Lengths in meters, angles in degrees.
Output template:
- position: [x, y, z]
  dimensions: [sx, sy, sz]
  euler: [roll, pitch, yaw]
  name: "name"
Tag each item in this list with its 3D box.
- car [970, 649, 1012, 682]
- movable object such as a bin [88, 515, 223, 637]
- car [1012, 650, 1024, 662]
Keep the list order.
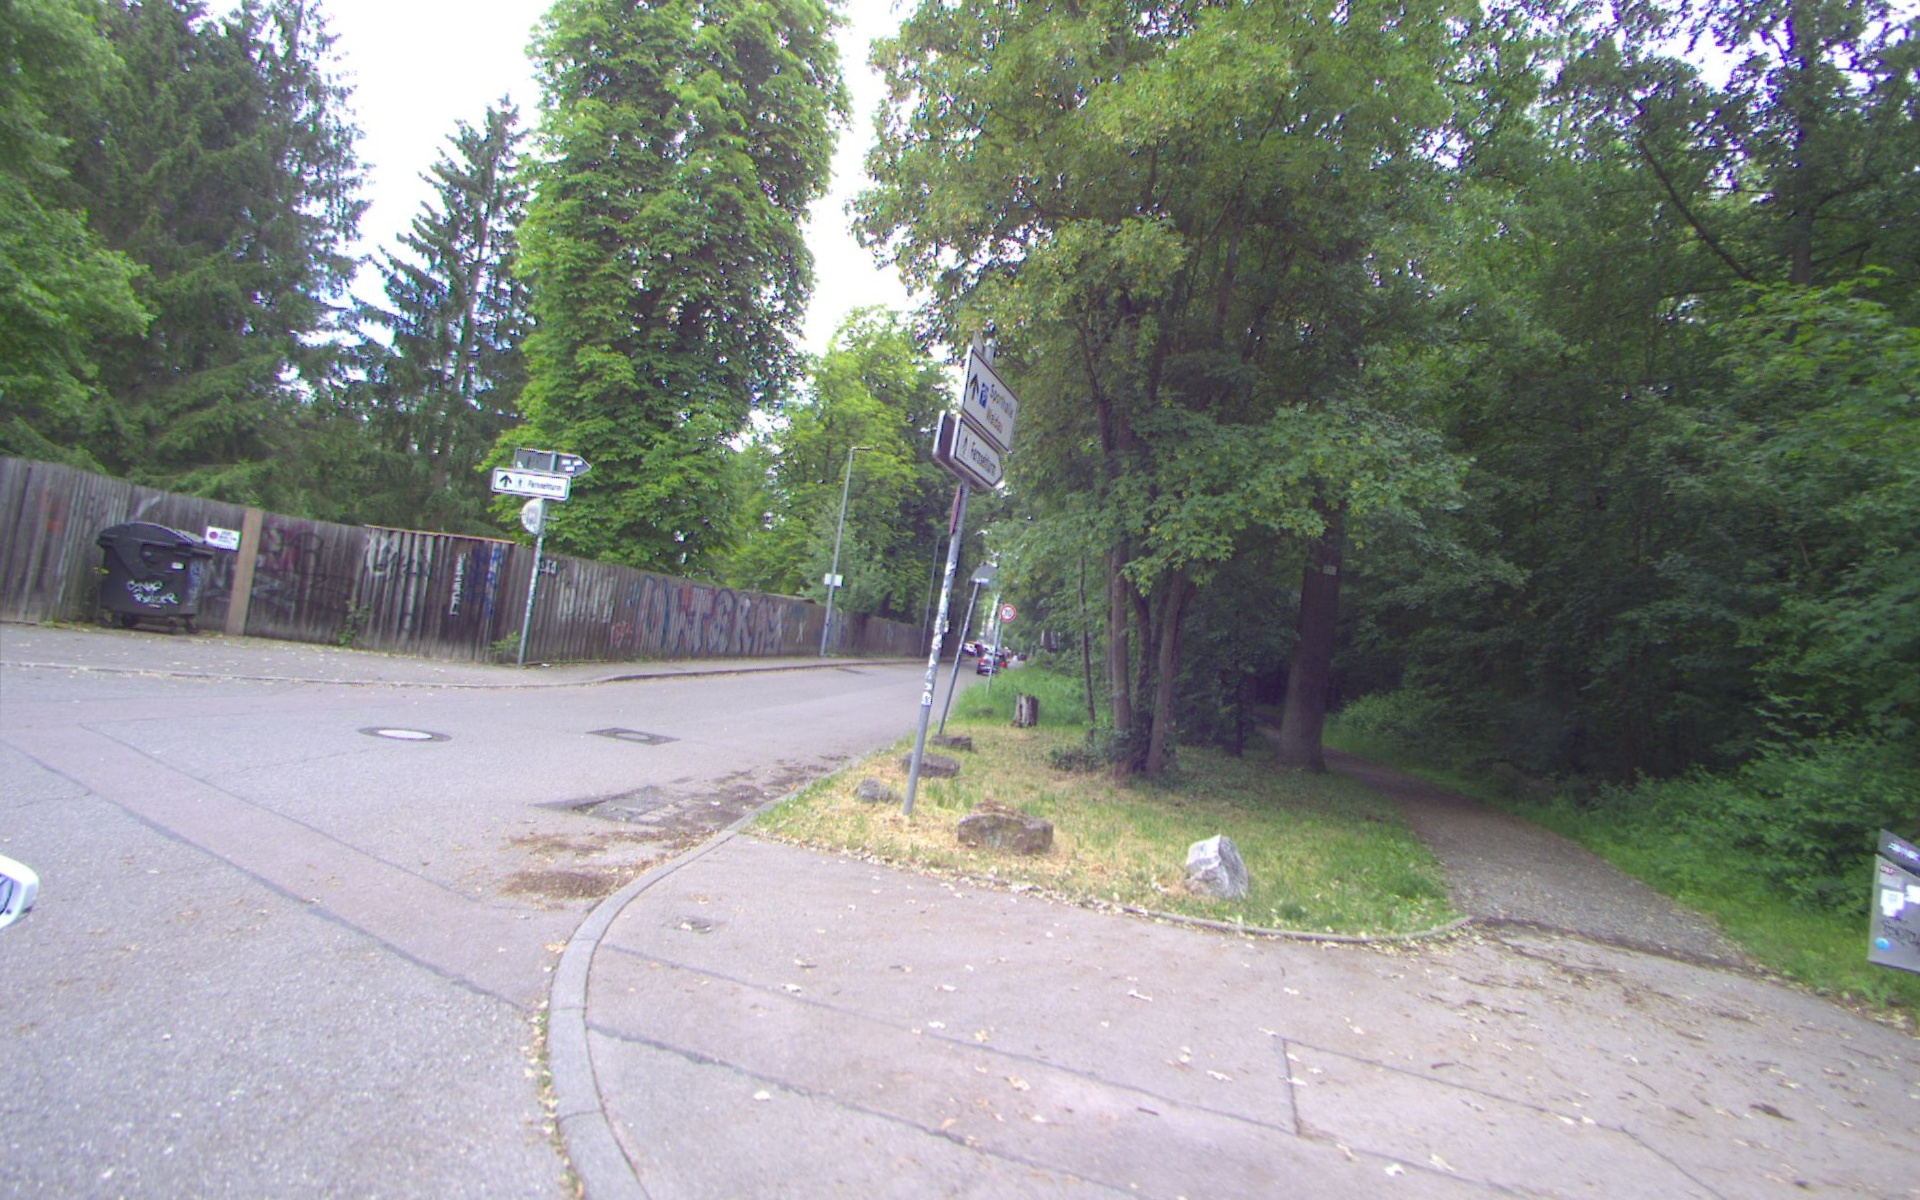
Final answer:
- position: [1.854, 3.861, 59.316]
  dimensions: [1.879, 1.523, 4.007]
  euler: [11, -3, 7]
  name: "car"
- position: [-11.088, -0.310, 13.931]
  dimensions: [1.067, 1.458, 1.278]
  euler: [8, -3, -27]
  name: "movable object such as a bin"
- position: [11.222, 10.795, 195.525]
  dimensions: [1.963, 2.036, 4.004]
  euler: [8, -2, 1]
  name: "car"
